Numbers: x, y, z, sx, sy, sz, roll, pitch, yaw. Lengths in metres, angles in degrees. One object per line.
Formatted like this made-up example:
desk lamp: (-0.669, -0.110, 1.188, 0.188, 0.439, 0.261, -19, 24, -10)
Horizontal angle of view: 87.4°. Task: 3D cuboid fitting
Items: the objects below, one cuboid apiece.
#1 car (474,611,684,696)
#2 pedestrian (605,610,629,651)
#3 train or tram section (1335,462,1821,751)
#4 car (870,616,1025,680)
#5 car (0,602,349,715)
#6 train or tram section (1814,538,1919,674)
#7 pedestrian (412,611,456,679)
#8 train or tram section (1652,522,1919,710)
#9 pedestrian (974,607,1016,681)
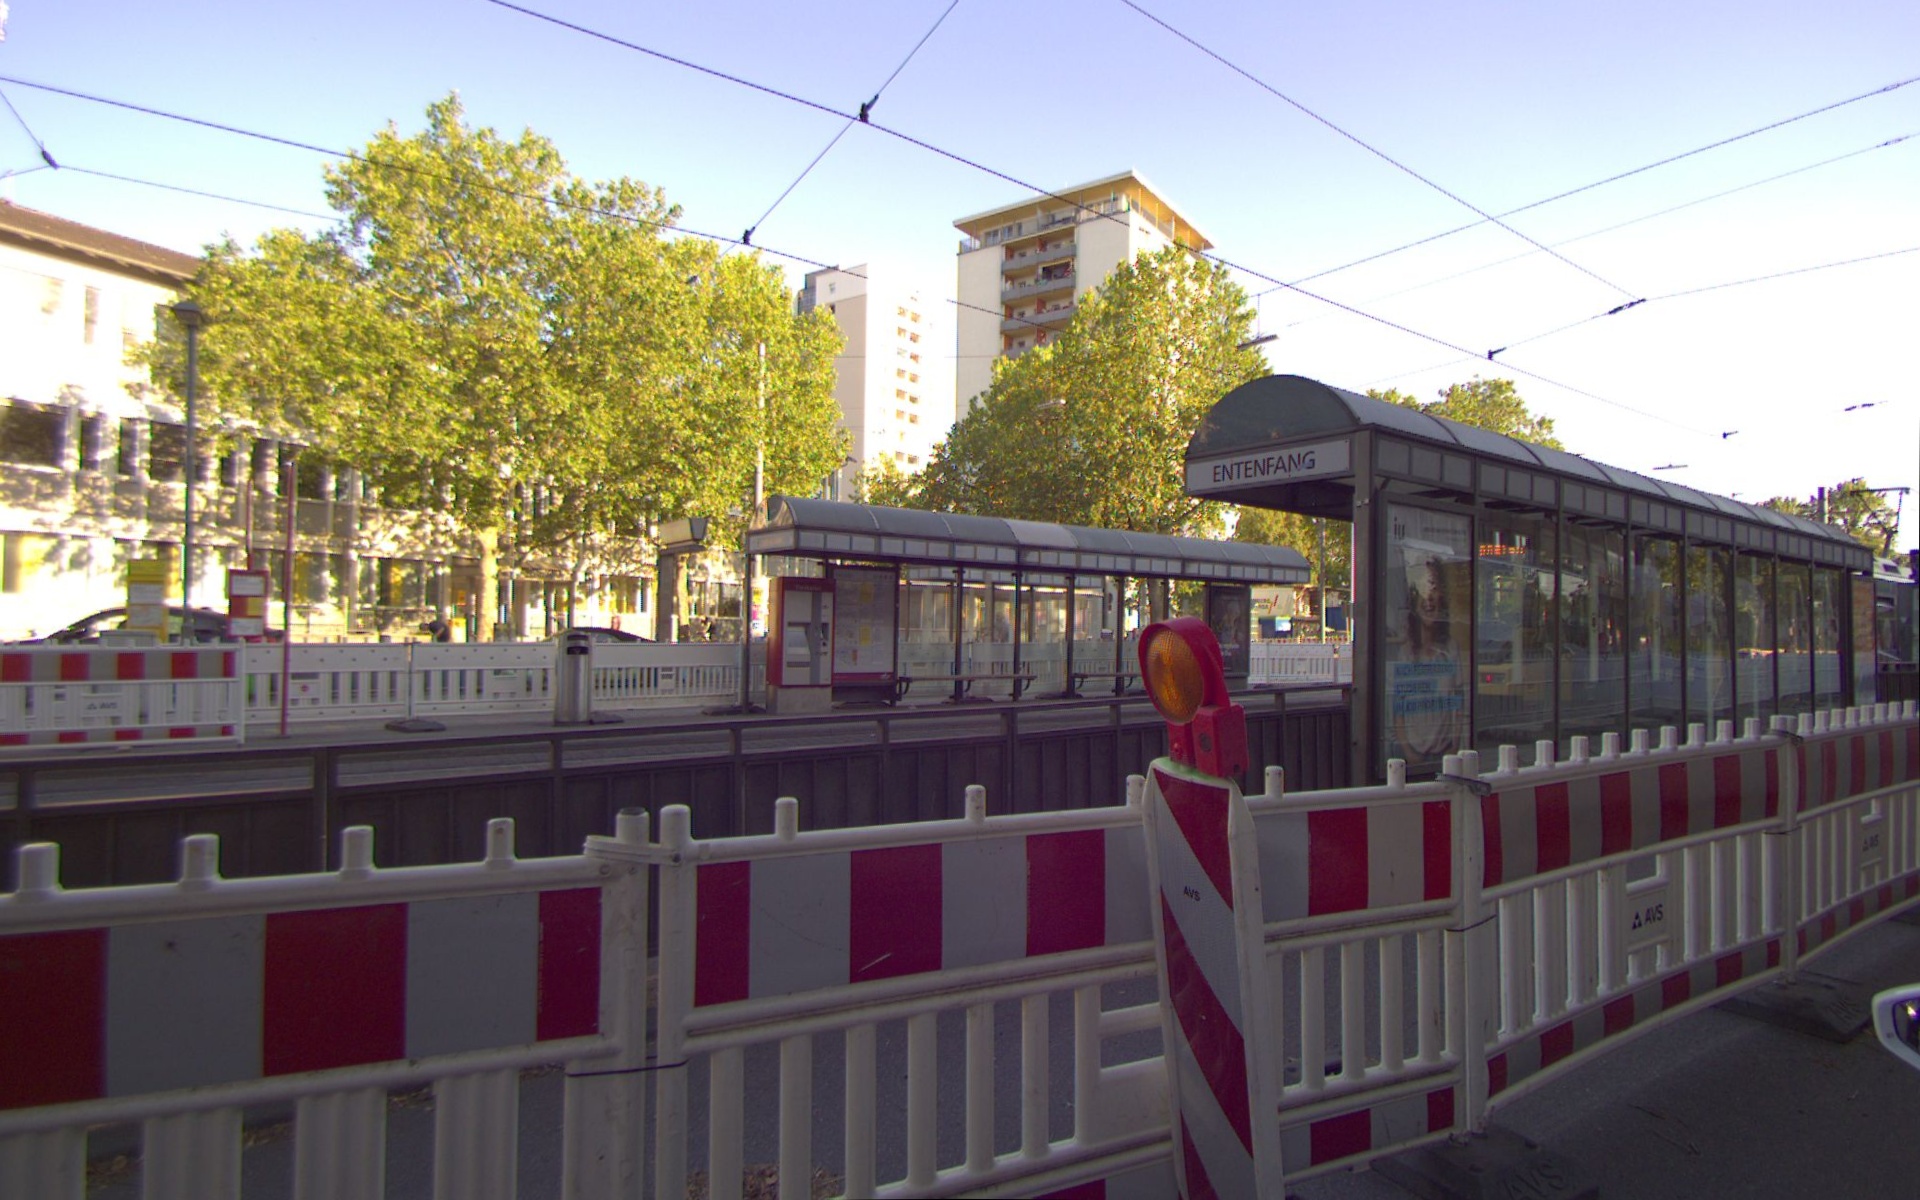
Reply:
car: (-8.293, 1.132, 21.944, 3.958, 1.683, 1.982, 2, -2, -34)
pedestrian: (-12.471, 1.118, 36.495, 0.577, 1.474, 0.583, 0, -2, 38)
train or tram section: (10.993, 0.226, 16.951, 11.657, 3.581, 2.668, 2, 0, -36)
car: (-0.332, 1.318, 28.117, 3.959, 1.683, 1.901, 2, -2, -35)
car: (-13.094, 0.956, 17.106, 4.511, 1.683, 1.982, 2, -2, -34)
train or tram section: (29.359, 0.299, 30.691, 11.479, 3.580, 2.666, 2, 0, -38)
pedestrian: (-14.664, 1.234, 28.000, 0.921, 1.858, 0.691, 2, -2, -43)
train or tram section: (20.175, 0.445, 23.934, 11.477, 3.606, 2.666, 2, 0, -38)
pedestrian: (0.937, 1.164, 26.766, 0.829, 1.925, 0.740, 2, -2, -36)
